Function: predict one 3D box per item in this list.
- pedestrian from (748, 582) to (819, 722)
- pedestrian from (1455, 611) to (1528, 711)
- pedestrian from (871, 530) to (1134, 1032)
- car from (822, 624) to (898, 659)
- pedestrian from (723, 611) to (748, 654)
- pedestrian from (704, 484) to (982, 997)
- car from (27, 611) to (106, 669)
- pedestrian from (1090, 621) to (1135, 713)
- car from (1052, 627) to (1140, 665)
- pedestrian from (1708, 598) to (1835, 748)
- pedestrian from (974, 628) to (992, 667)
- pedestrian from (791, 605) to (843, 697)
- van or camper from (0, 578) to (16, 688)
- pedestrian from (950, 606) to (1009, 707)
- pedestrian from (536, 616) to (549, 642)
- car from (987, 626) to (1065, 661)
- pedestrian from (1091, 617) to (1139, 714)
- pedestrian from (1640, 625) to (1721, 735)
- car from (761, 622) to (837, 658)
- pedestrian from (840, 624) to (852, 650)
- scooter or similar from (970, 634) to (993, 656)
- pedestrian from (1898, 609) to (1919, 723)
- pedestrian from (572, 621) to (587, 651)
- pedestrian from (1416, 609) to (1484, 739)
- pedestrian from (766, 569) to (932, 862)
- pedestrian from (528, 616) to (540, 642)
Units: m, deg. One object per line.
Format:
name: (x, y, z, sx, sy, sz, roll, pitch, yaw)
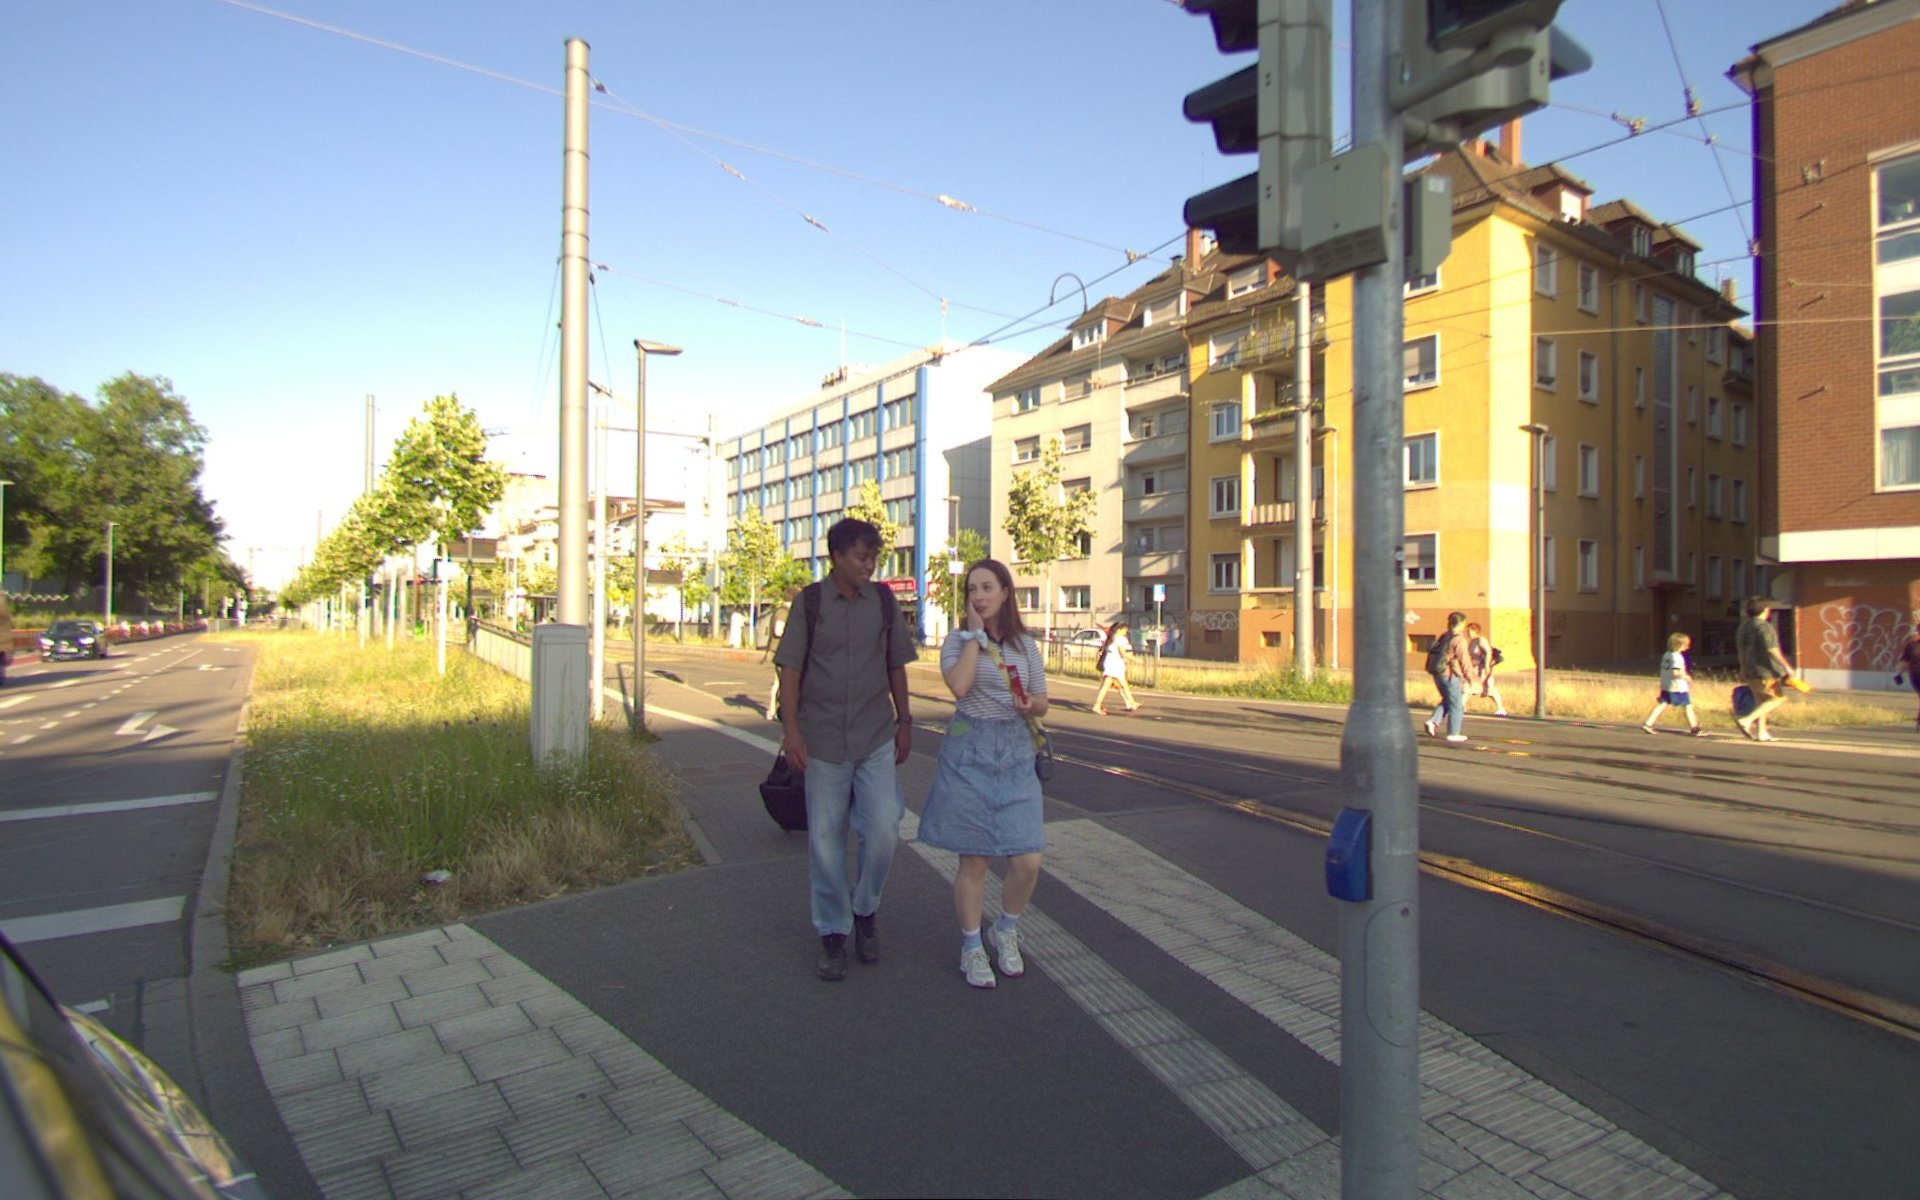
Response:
pedestrian: (-2.456, 0.701, 14.082, 0.775, 1.878, 0.621, -1, 0, -32)
pedestrian: (8.862, 0.997, 16.897, 0.673, 1.596, 0.843, -1, 0, -8)
pedestrian: (0.202, 0.600, 3.885, 0.781, 1.653, 0.895, -1, 0, 18)
car: (-4.789, 1.918, 48.146, 1.856, 1.519, 3.952, -1, 0, -35)
pedestrian: (-8.895, 1.269, 40.082, 0.775, 1.685, 0.621, -1, 0, -32)
pedestrian: (-0.441, 0.470, 4.109, 0.782, 1.814, 0.894, 3, 3, 19)
car: (-33.844, 1.478, 38.419, 1.968, 2.029, 4.008, -1, 0, -38)
pedestrian: (2.500, 1.081, 16.550, 0.522, 1.442, 0.632, -1, 0, 28)
car: (6.007, 2.011, 45.077, 1.856, 1.519, 3.683, -1, 0, -35)
pedestrian: (9.965, 0.869, 12.451, 0.886, 1.771, 0.777, -1, 0, -5)
pedestrian: (1.121, 2.289, 48.736, 0.552, 1.861, 0.725, -1, 0, -28)
pedestrian: (-2.748, 0.955, 19.383, 0.775, 1.711, 0.621, -1, 0, -32)
van or camper: (-22.189, 0.752, 21.582, 1.966, 2.548, 5.930, -1, 0, -33)
pedestrian: (0.317, 0.917, 16.089, 0.617, 1.561, 0.779, -4, -6, 31)
pedestrian: (-27.725, 1.939, 67.208, 0.649, 1.705, 0.774, -1, 0, -29)
car: (3.142, 2.076, 49.023, 1.856, 1.519, 3.683, -1, 0, -35)
pedestrian: (2.430, 1.007, 15.836, 0.523, 1.467, 0.632, -1, 0, 30)
pedestrian: (9.327, 1.020, 13.110, 0.598, 1.370, 0.598, 3, -2, -12)
car: (-7.357, 1.786, 46.092, 1.856, 1.519, 3.952, -1, 0, -35)
pedestrian: (-7.777, 2.529, 69.145, 0.635, 1.759, 0.601, -1, 0, -29)
scooter or similar: (1.039, 2.151, 48.964, 0.479, 1.013, 1.334, -1, 0, -28)
pedestrian: (13.954, 0.936, 14.393, 0.598, 1.600, 0.790, -1, 0, -39)
pedestrian: (-22.145, 2.087, 58.892, 0.649, 1.705, 0.774, -1, 0, -37)
pedestrian: (6.140, 0.900, 12.671, 0.618, 1.547, 0.778, -1, 0, 36)
pedestrian: (-0.679, 0.649, 6.191, 0.775, 1.653, 0.621, -1, 0, -37)
pedestrian: (-29.071, 1.970, 69.092, 0.649, 1.705, 0.774, -1, 0, -32)
